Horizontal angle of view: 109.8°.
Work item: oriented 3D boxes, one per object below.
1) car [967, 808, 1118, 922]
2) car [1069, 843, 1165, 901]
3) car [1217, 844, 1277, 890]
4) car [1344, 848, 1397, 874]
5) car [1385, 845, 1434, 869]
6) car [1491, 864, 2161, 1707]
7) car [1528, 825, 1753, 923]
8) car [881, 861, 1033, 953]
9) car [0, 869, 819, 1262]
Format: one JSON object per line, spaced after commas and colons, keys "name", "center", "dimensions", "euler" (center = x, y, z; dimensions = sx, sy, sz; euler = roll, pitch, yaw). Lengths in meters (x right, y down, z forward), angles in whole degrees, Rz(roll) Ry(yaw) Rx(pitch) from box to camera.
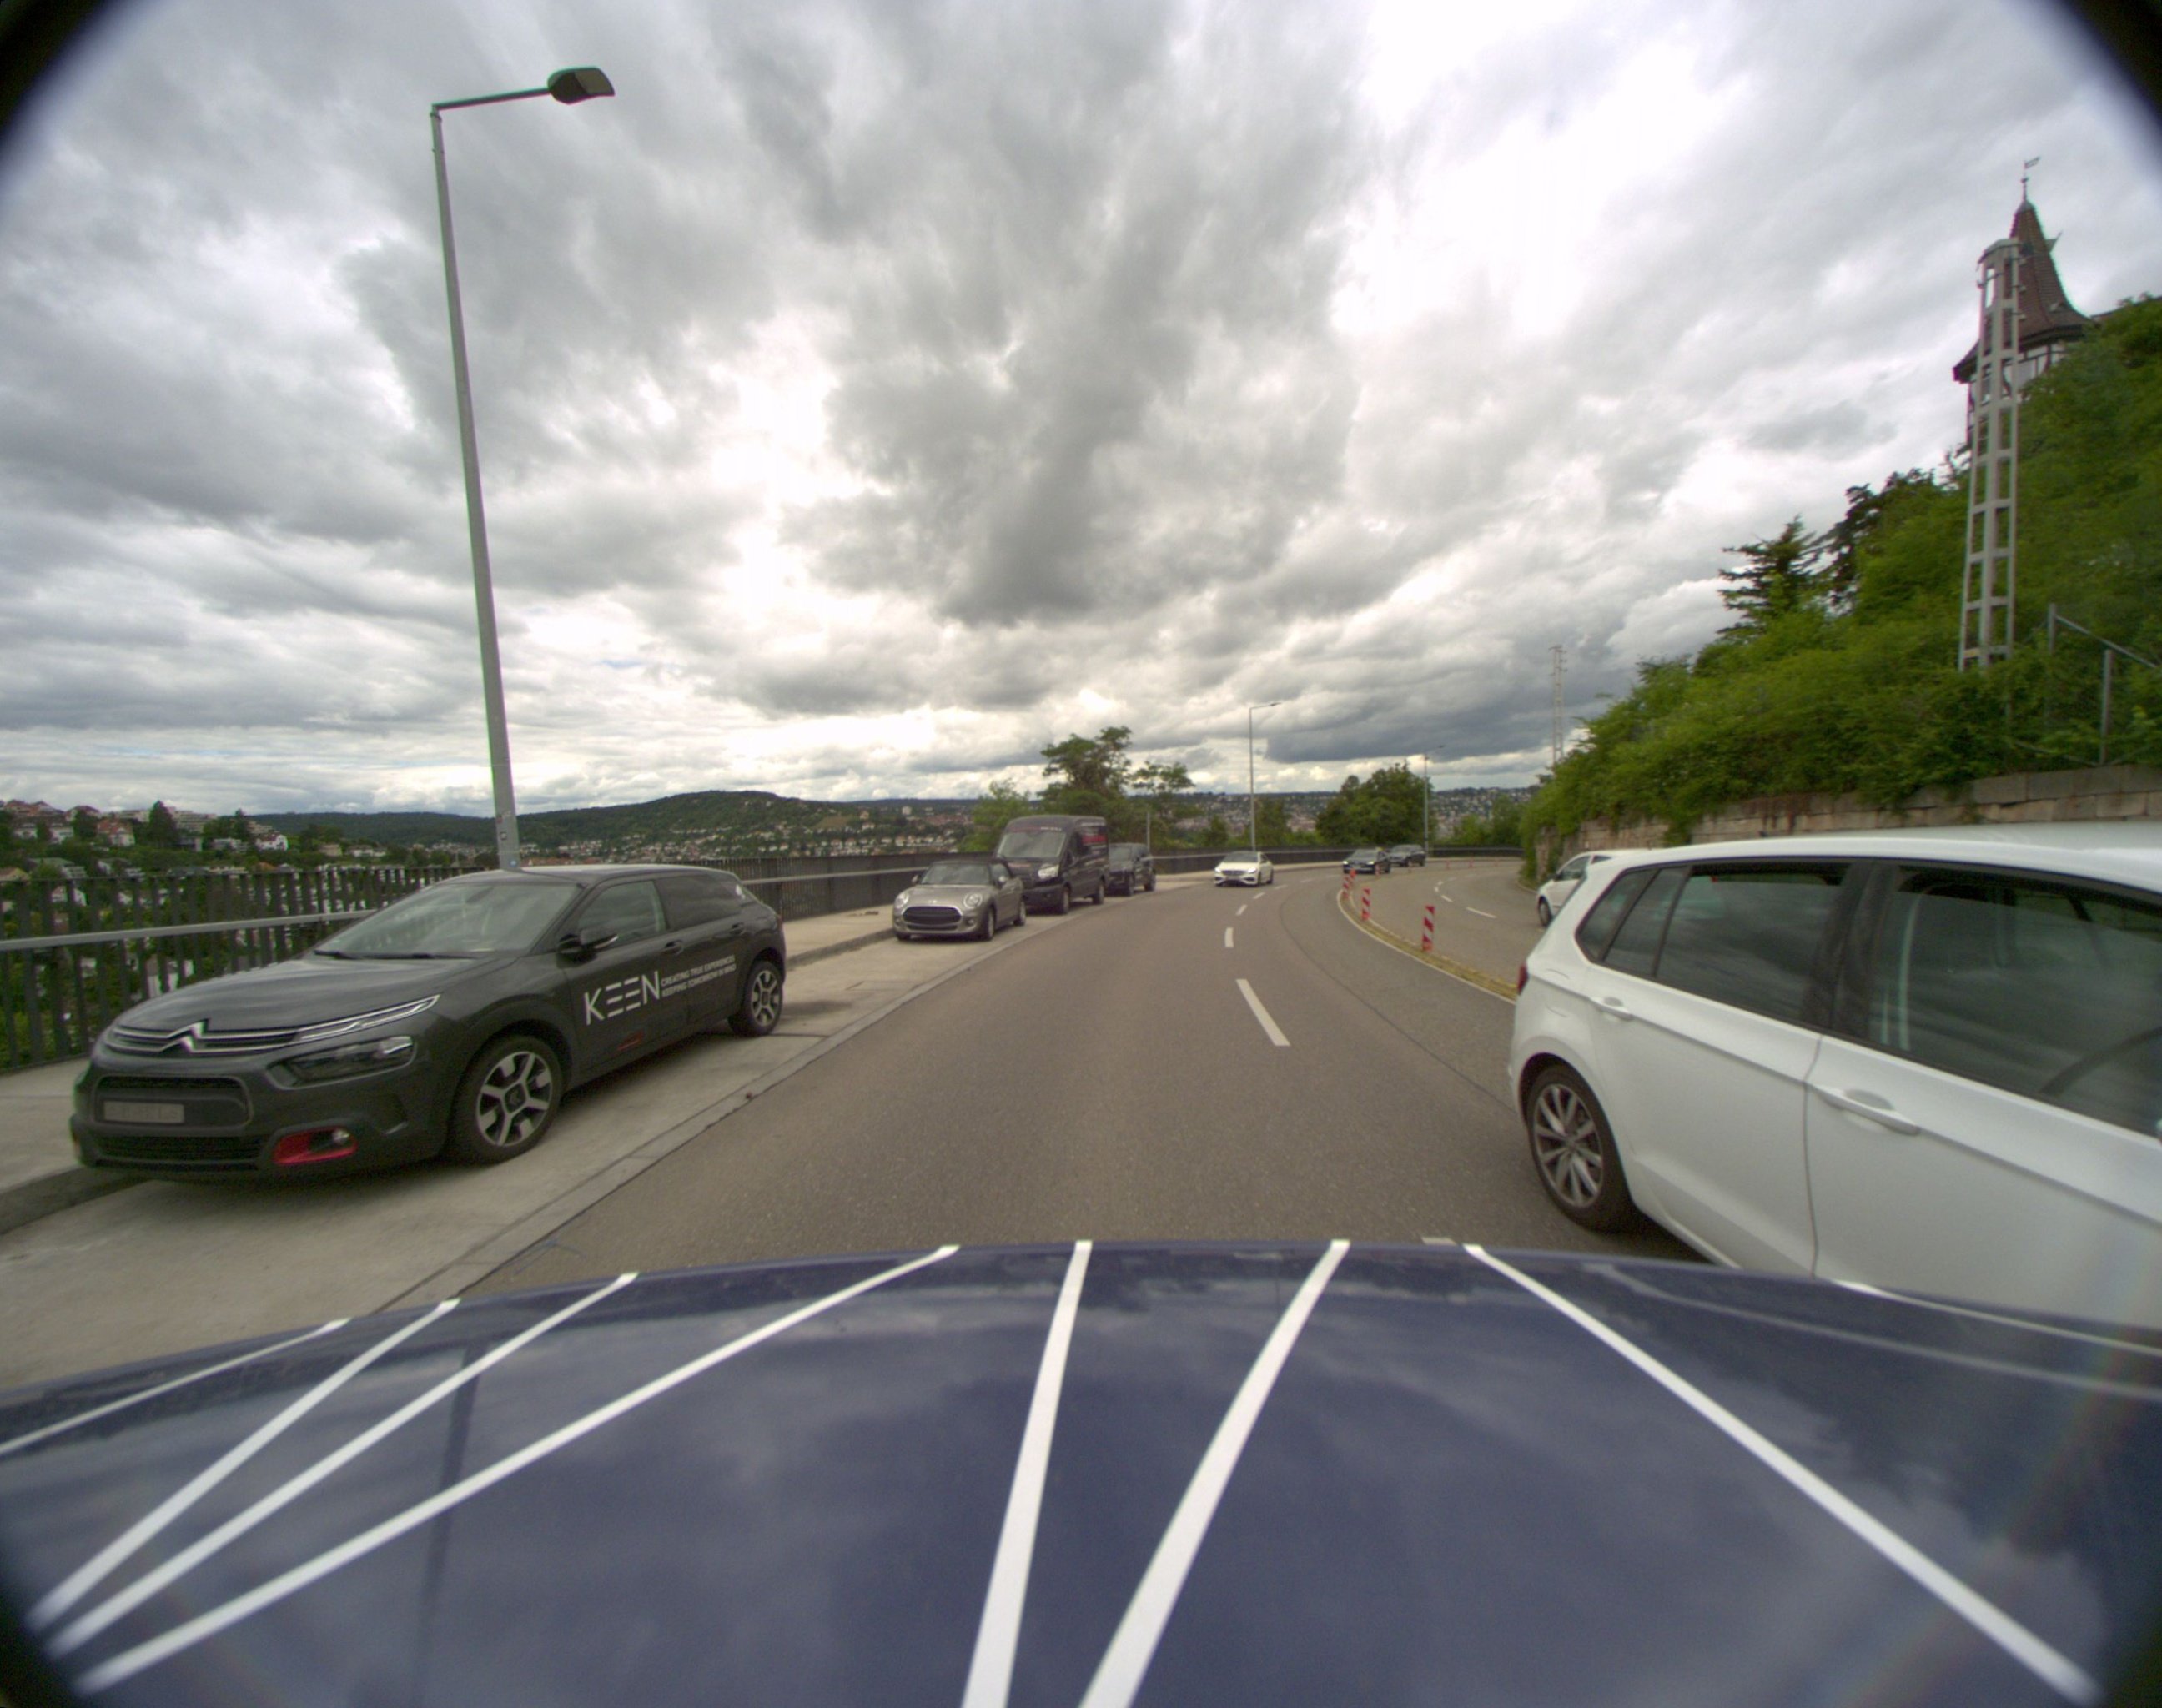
{"name": "car", "center": [-0.784, 0.198, 20.187], "dimensions": [2.169, 2.507, 5.777], "euler": [2, 1, 16]}
{"name": "car", "center": [1.386, 0.537, 26.504], "dimensions": [1.995, 1.708, 5.055], "euler": [2, 2, 19]}
{"name": "car", "center": [7.017, 0.486, 31.839], "dimensions": [1.996, 1.709, 4.004], "euler": [0, 2, 19]}
{"name": "car", "center": [17.292, 0.404, 45.248], "dimensions": [1.897, 1.485, 4.150], "euler": [-1, 0, 36]}
{"name": "car", "center": [24.898, 0.190, 57.506], "dimensions": [1.994, 1.661, 4.547], "euler": [0, 1, 42]}
{"name": "car", "center": [2.694, 0.838, 1.372], "dimensions": [1.825, 1.571, 4.357], "euler": [0, 0, 4]}
{"name": "car", "center": [10.019, 0.248, 14.037], "dimensions": [1.704, 1.540, 4.002], "euler": [1, 2, 10]}
{"name": "car", "center": [-2.175, 0.878, 14.405], "dimensions": [1.717, 1.423, 3.852], "euler": [0, 1, 9]}
{"name": "car", "center": [-3.695, 0.961, 5.341], "dimensions": [1.878, 1.534, 4.091], "euler": [-1, 1, 6]}
